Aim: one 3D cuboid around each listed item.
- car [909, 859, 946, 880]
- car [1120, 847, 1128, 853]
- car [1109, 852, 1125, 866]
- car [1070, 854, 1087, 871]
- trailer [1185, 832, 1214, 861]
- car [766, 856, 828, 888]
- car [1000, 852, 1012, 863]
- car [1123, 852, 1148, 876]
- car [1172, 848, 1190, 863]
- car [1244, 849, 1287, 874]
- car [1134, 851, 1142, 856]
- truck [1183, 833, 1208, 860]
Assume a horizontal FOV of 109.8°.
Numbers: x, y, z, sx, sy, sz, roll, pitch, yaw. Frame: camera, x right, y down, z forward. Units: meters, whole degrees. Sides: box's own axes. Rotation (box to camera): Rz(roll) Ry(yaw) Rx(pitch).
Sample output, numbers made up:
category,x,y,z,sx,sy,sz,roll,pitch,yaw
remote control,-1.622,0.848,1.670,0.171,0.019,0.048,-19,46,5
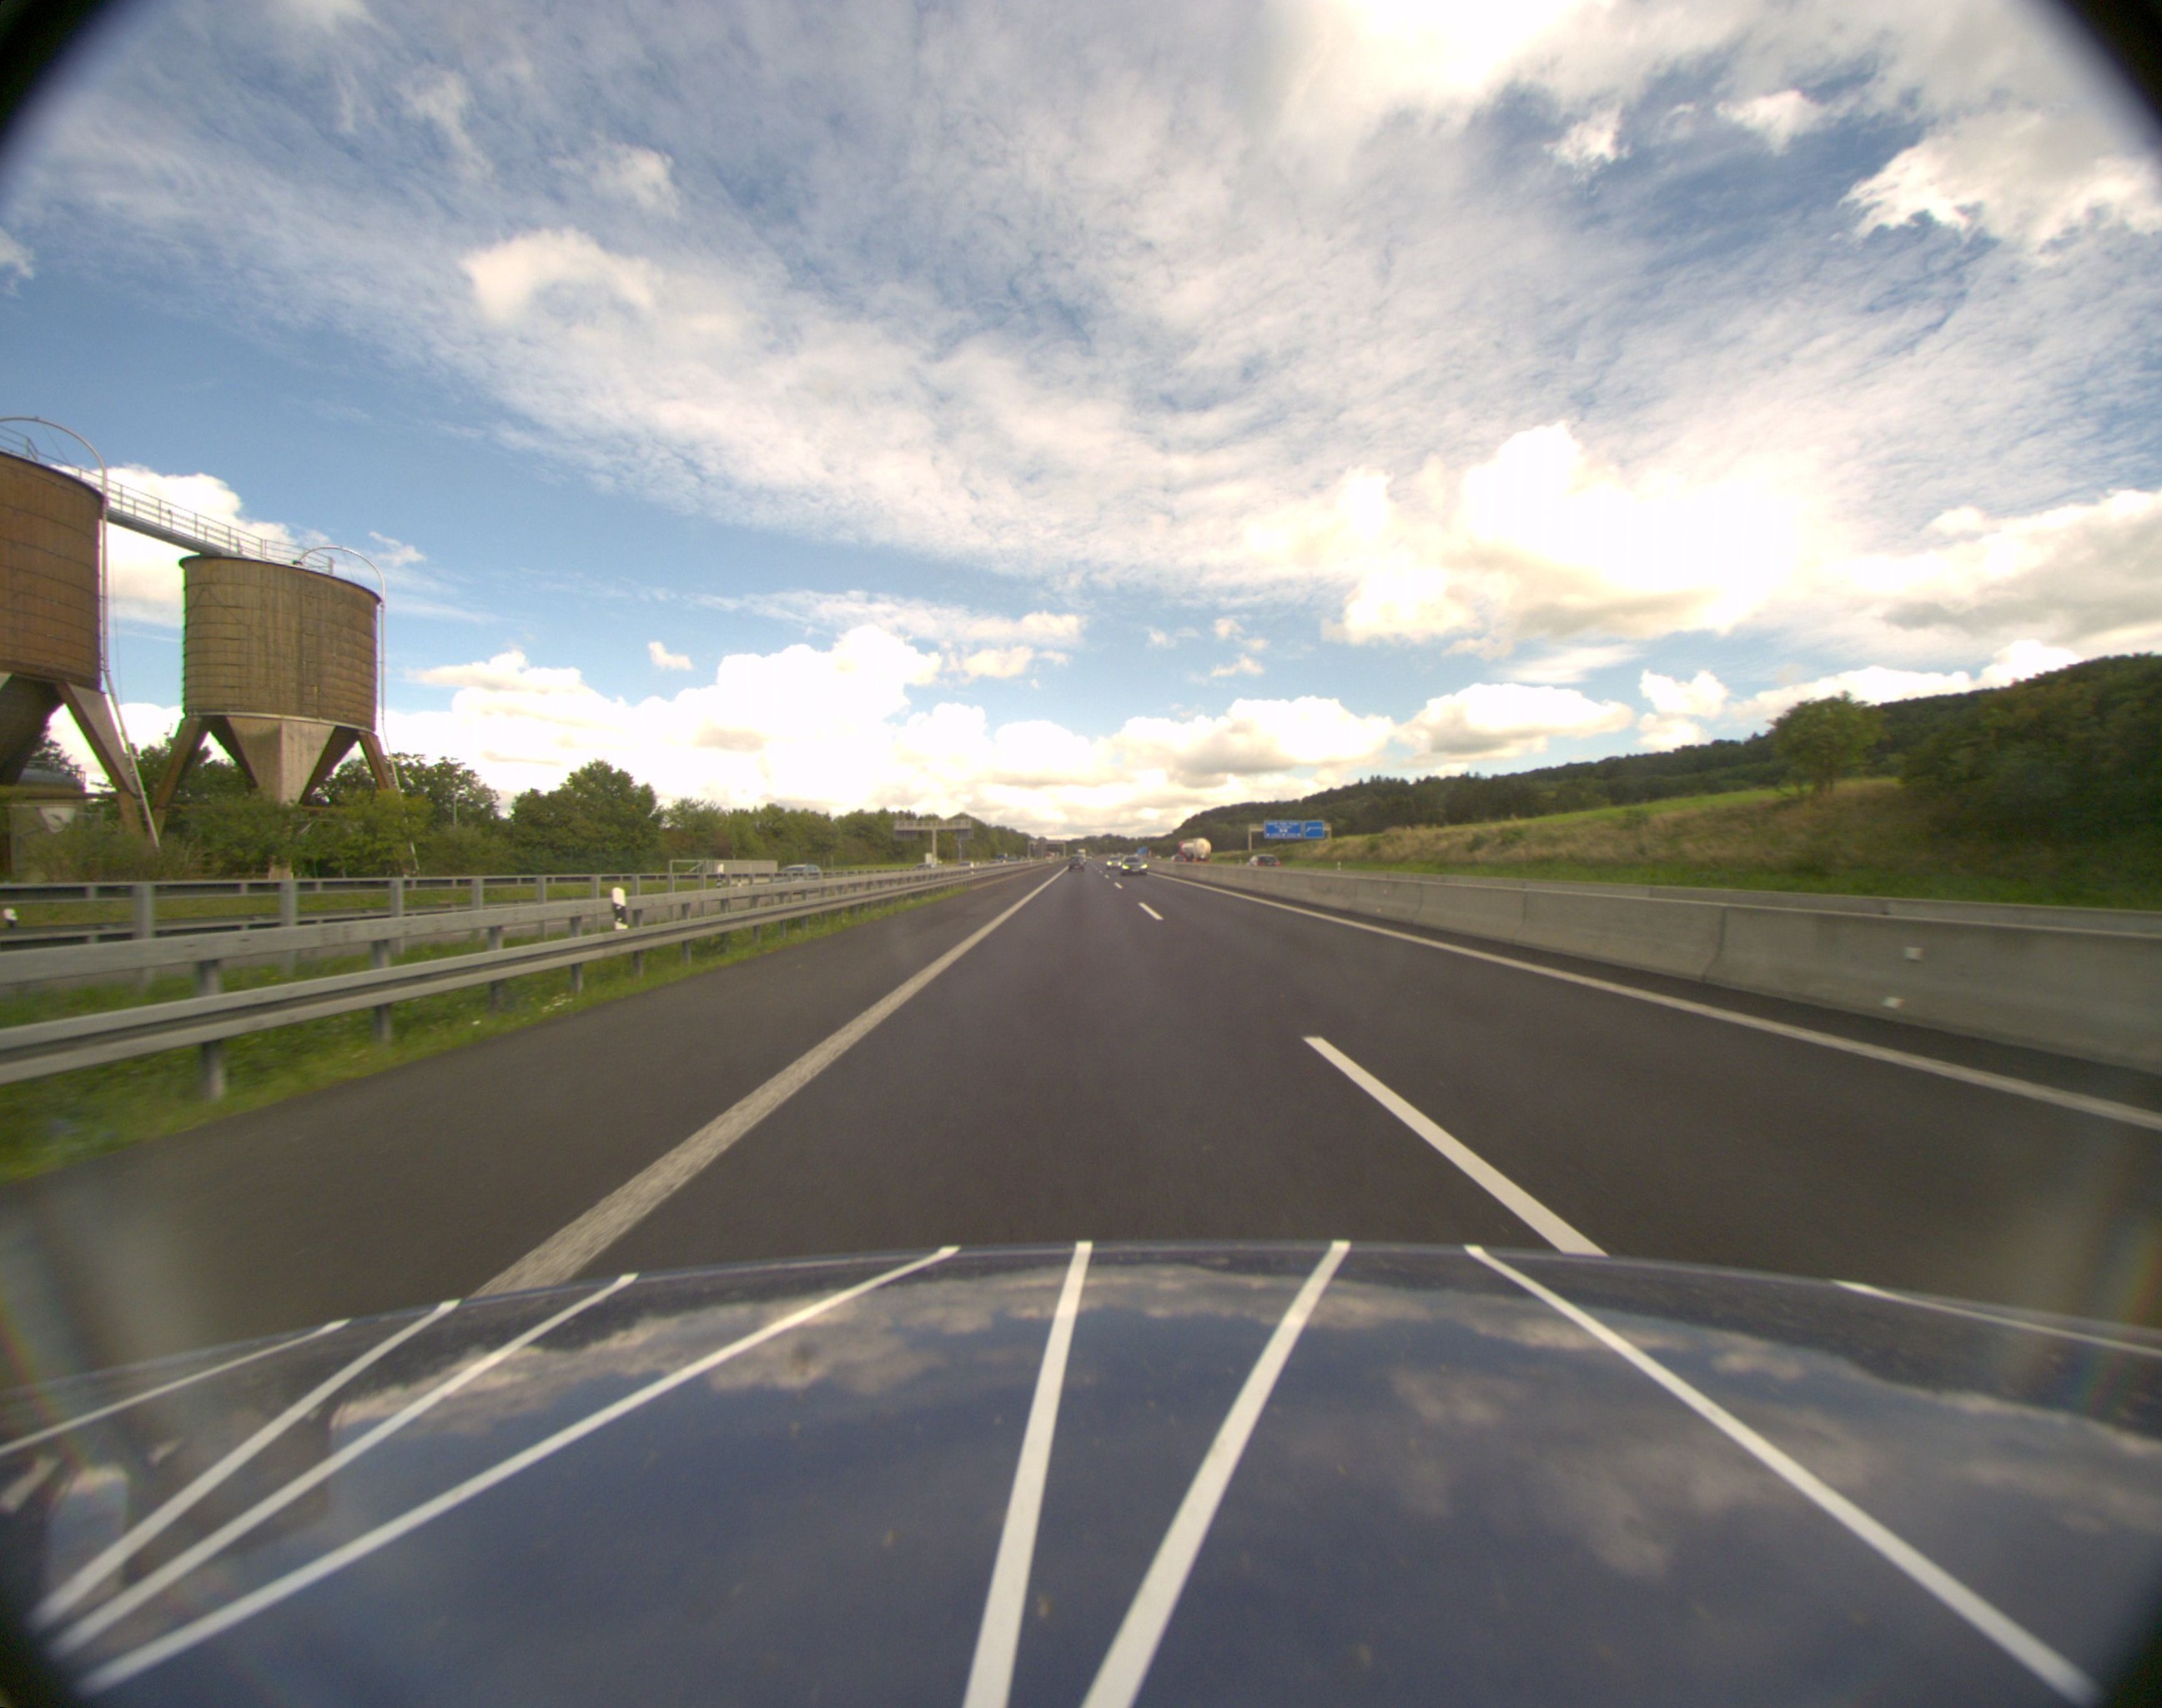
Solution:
category,x,y,z,sx,sy,sz,roll,pitch,yaw
car,-11.575,1.148,57.530,1.999,1.476,3.999,-1,0,0
car,13.206,-1.285,233.319,1.998,2.002,5.841,0,0,1
car,4.014,0.552,84.331,1.724,1.406,3.939,-1,0,2
car,-0.236,0.901,80.360,1.670,1.722,4.207,-1,0,2
trailer,16.915,-1.039,109.002,2.720,3.864,11.160,0,1,1
car,-15.888,0.973,42.731,1.998,1.698,4.000,0,1,1
car,-15.281,0.616,155.276,1.999,2.173,5.127,-1,1,0
car,4.086,0.749,57.799,1.724,1.722,3.939,-1,0,2
car,12.482,0.209,95.085,1.812,1.821,4.396,0,1,1
car,12.667,0.484,52.308,1.998,1.707,4.000,0,1,1
car,16.999,-0.162,226.124,1.998,1.470,4.692,0,0,1
truck,17.075,-1.086,113.776,2.744,3.902,6.901,0,1,1
